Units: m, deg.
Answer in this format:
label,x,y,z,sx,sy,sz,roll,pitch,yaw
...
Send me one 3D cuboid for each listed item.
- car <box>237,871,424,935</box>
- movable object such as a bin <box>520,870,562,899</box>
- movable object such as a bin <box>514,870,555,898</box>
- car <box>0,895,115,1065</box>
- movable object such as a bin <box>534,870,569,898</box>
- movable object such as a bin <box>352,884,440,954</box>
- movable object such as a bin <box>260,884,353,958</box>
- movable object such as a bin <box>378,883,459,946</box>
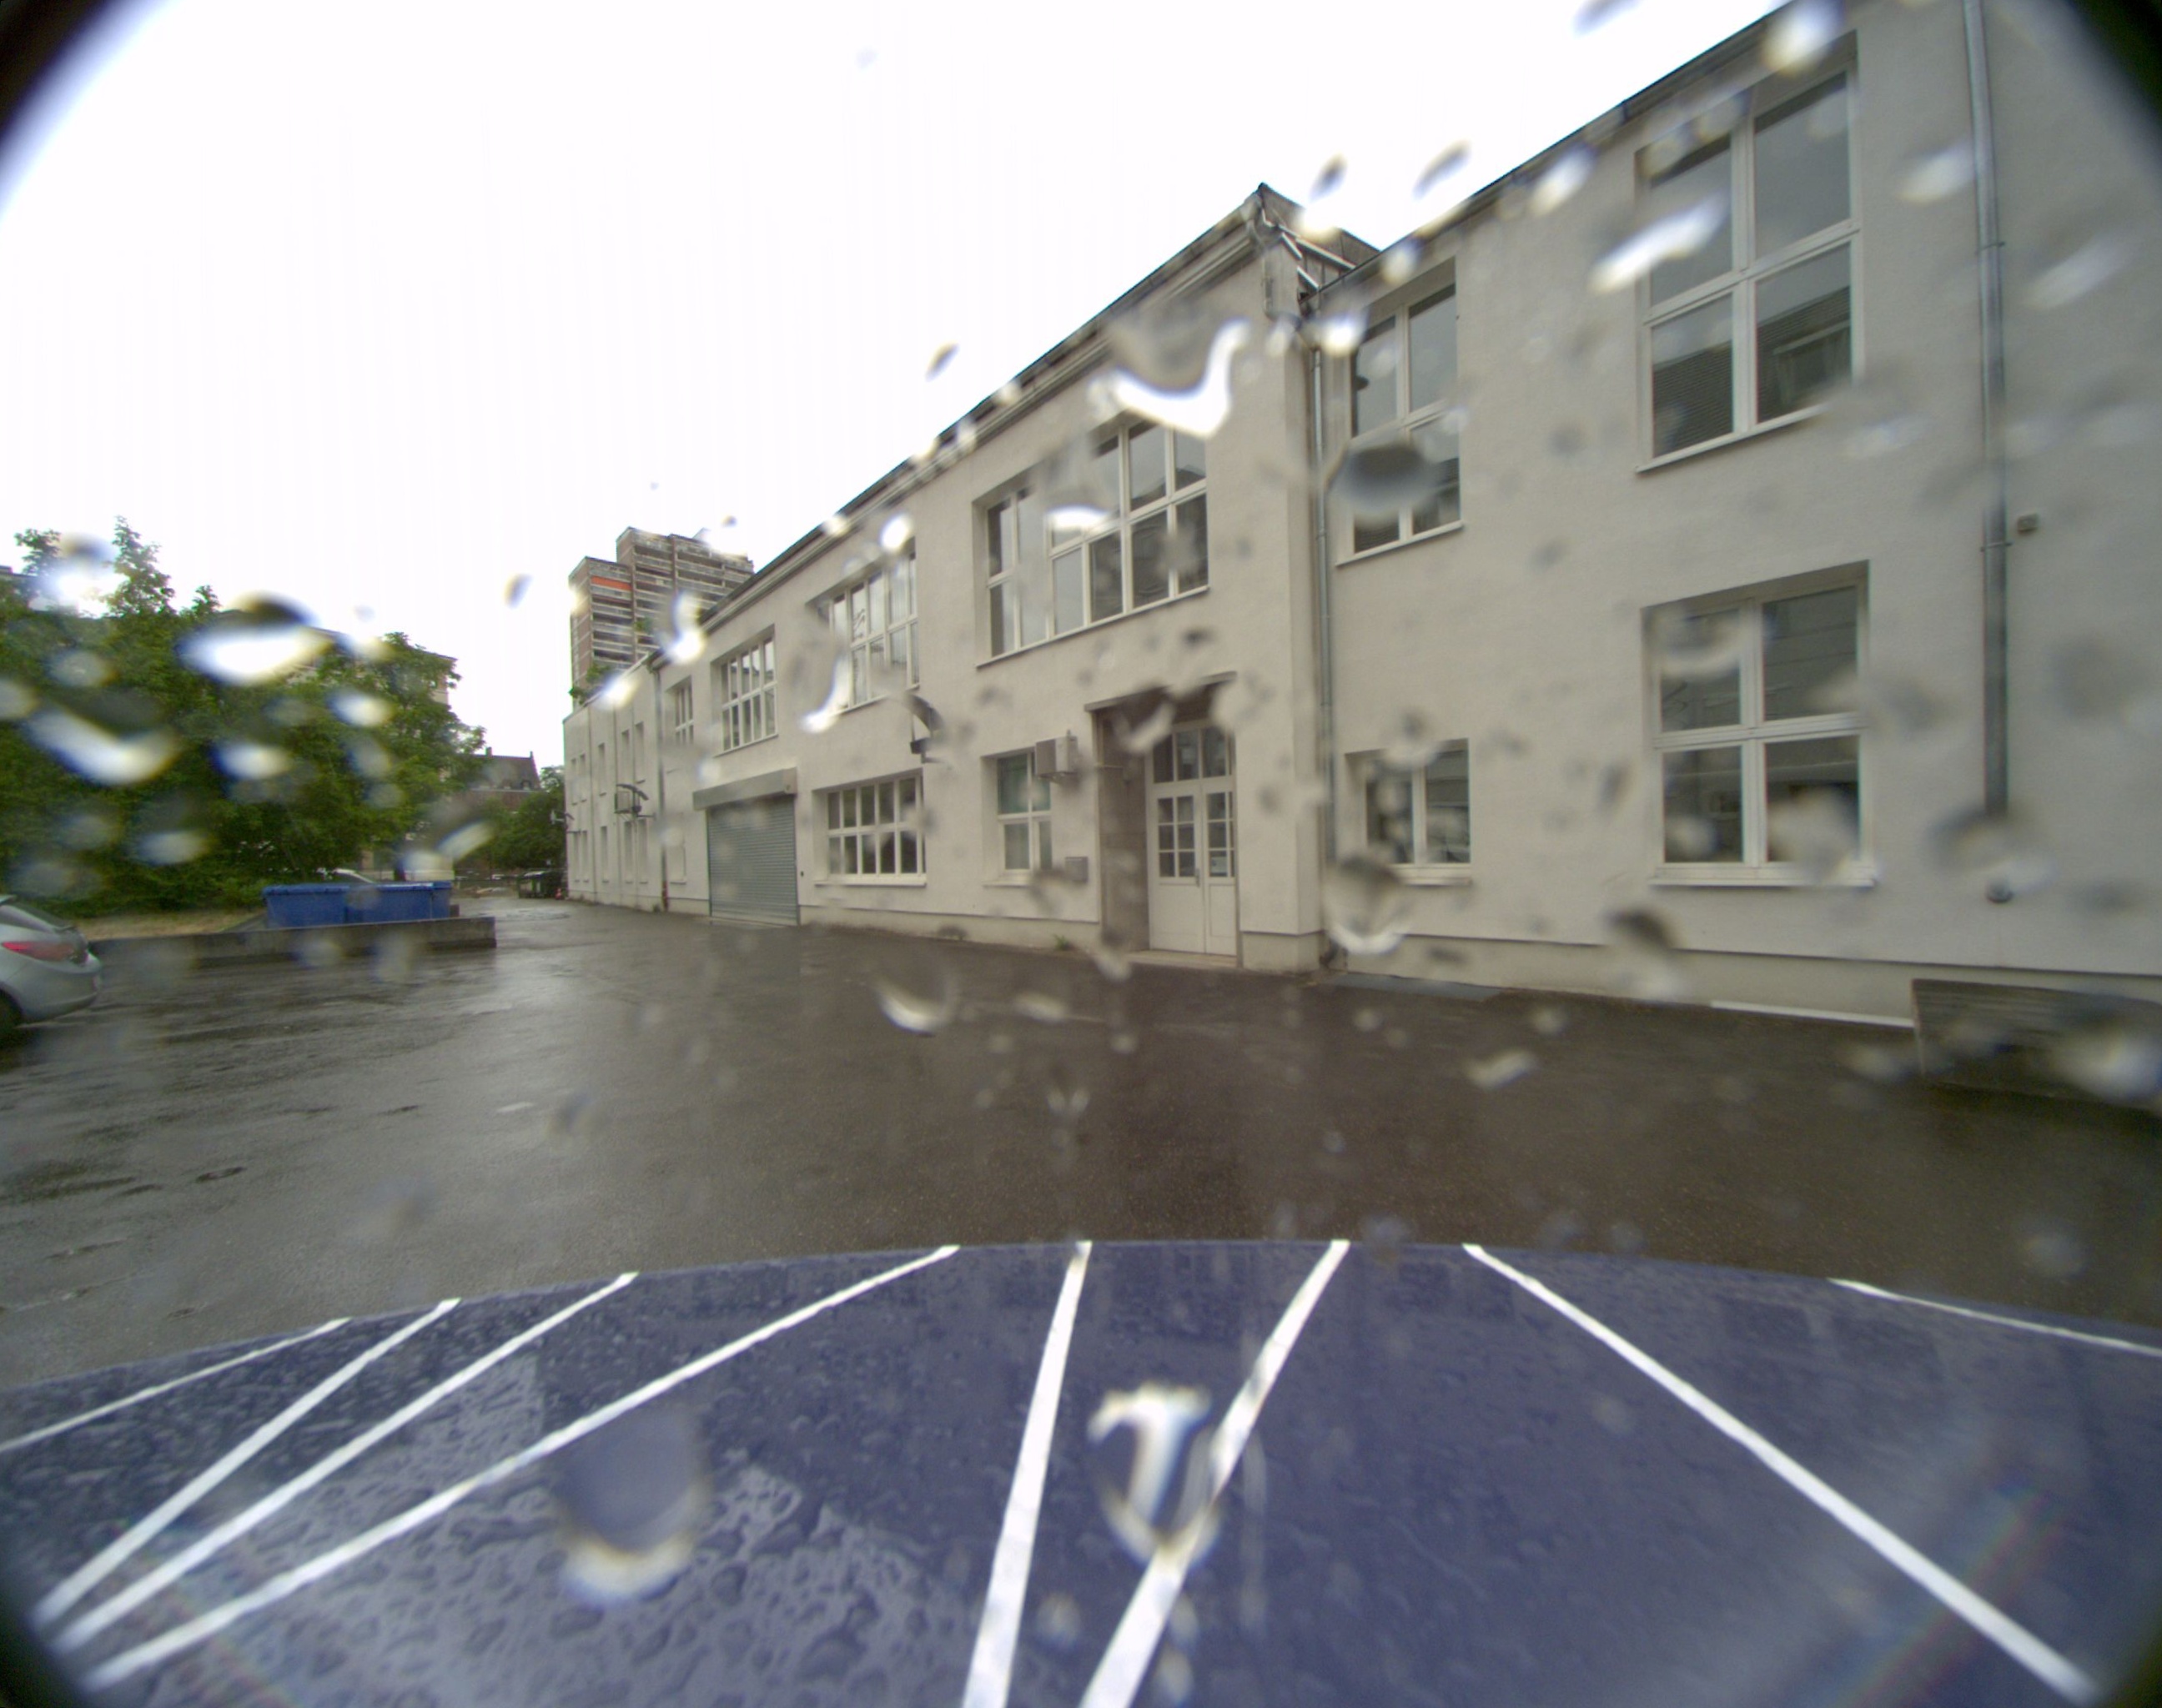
label,x,y,z,sx,sy,sz,roll,pitch,yaw
car,-27.408,1.760,28.030,4.706,1.870,2.118,-4,-1,-42
movable object such as a bin,-29.275,1.629,41.196,1.310,1.440,1.495,-4,0,41
movable object such as a bin,-30.270,1.671,42.101,1.310,1.440,1.495,-4,0,41
car,-11.506,1.213,6.242,1.994,1.481,4.229,-2,0,43
movable object such as a bin,-28.029,1.611,40.212,1.310,1.366,1.190,-4,0,41
movable object such as a bin,-15.098,1.400,16.733,1.316,1.350,1.900,-4,0,-44
movable object such as a bin,-16.055,1.367,15.813,1.236,1.350,1.965,-4,0,-44
movable object such as a bin,-16.084,1.435,18.433,1.316,1.350,1.900,-4,0,-44
